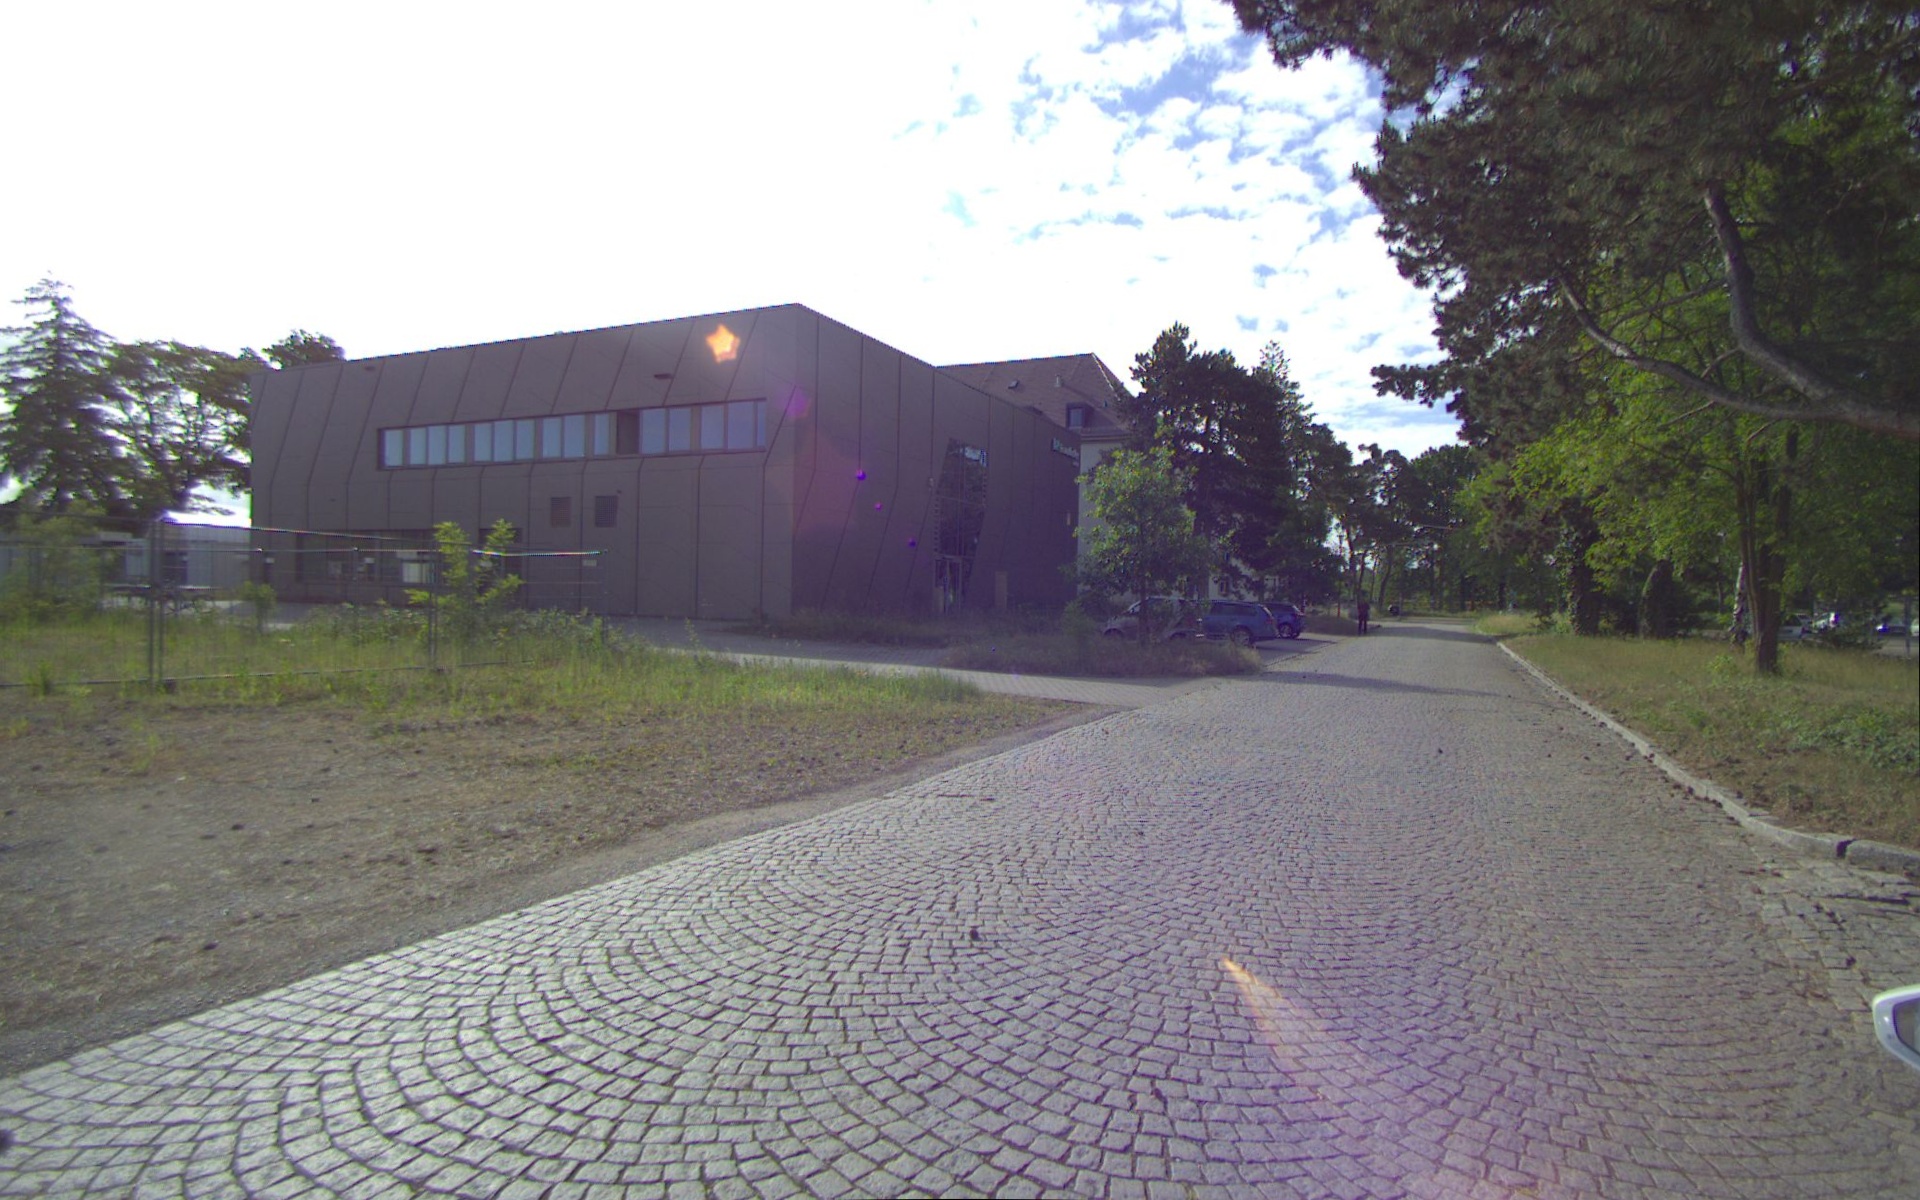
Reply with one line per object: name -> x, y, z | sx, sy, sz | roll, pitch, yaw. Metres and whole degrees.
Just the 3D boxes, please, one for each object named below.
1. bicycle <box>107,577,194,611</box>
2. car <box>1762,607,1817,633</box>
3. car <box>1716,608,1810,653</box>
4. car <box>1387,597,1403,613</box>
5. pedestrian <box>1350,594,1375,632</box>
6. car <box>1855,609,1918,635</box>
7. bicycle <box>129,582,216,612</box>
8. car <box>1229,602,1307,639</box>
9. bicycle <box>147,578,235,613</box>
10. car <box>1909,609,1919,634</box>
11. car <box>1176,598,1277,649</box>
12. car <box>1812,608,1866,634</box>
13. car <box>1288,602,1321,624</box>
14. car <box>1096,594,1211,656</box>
bicycle -> -26.895, -0.190, 33.404 | 0.928, 1.058, 2.068 | 2, 1, 24
car -> 56.079, 1.323, 67.968 | 1.963, 1.639, 3.995 | 1, 0, 26
car -> 30.883, 1.141, 38.781 | 1.856, 1.561, 3.997 | 2, 1, 24
car -> 59.563, 0.703, 137.481 | 1.671, 2.040, 3.995 | 2, 1, 26
pedestrian -> 19.834, 0.629, 49.496 | 0.939, 1.869, 0.956 | 1, 1, 12
car -> 60.911, 1.414, 66.134 | 1.963, 1.639, 3.995 | 1, 0, 26
bicycle -> -25.941, -0.097, 33.113 | 0.928, 0.934, 2.068 | 2, 1, 24
car -> 12.952, 0.840, 42.244 | 3.033, 1.469, 1.492 | 1, 1, 20
bicycle -> -24.860, -0.146, 32.520 | 0.928, 1.101, 2.068 | 2, 1, 24
car -> 63.624, 1.416, 65.104 | 1.963, 1.639, 3.995 | 1, 0, 26
car -> 8.950, 0.764, 33.696 | 3.034, 1.477, 1.491 | 4, 1, 22
car -> 58.561, 1.361, 67.001 | 1.793, 1.639, 3.994 | 1, 0, 28
car -> 27.031, 0.969, 78.739 | 1.963, 1.639, 3.995 | 1, 0, 26
car -> 5.268, 0.643, 27.369 | 2.720, 1.570, 1.422 | 2, 1, 30
